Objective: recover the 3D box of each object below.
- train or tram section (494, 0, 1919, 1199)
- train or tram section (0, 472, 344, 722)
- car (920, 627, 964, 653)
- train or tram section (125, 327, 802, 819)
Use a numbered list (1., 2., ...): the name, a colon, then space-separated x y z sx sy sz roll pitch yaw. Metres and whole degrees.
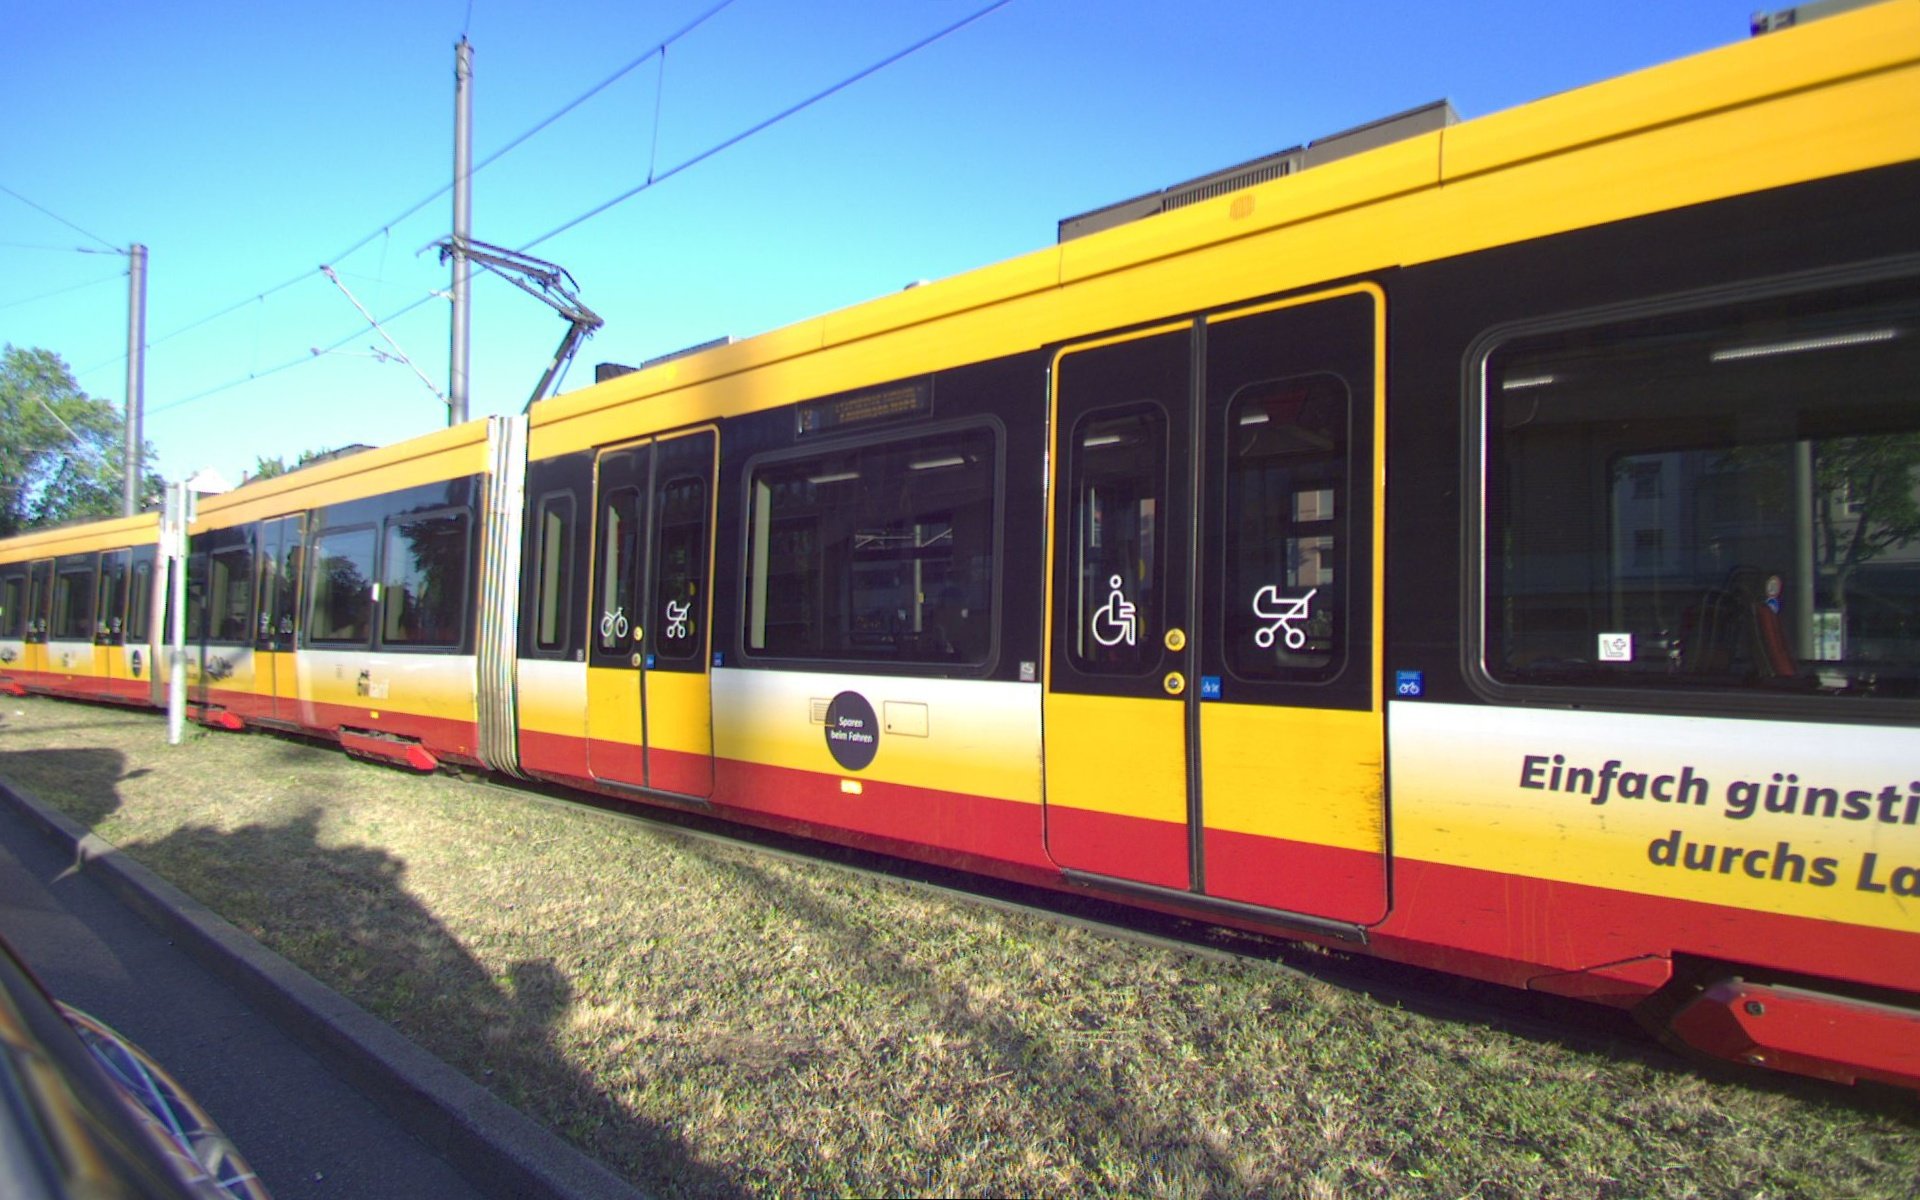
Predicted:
1. train or tram section: 2.167 -0.326 4.637 13.215 3.767 2.877 -1 -2 42
2. train or tram section: -16.544 0.081 19.939 12.163 3.767 2.880 -1 -2 35
3. car: -1.386 3.011 76.758 1.965 1.893 4.013 1 -2 -23
4. train or tram section: -7.148 -0.085 12.729 12.171 3.767 2.849 -1 -2 39
